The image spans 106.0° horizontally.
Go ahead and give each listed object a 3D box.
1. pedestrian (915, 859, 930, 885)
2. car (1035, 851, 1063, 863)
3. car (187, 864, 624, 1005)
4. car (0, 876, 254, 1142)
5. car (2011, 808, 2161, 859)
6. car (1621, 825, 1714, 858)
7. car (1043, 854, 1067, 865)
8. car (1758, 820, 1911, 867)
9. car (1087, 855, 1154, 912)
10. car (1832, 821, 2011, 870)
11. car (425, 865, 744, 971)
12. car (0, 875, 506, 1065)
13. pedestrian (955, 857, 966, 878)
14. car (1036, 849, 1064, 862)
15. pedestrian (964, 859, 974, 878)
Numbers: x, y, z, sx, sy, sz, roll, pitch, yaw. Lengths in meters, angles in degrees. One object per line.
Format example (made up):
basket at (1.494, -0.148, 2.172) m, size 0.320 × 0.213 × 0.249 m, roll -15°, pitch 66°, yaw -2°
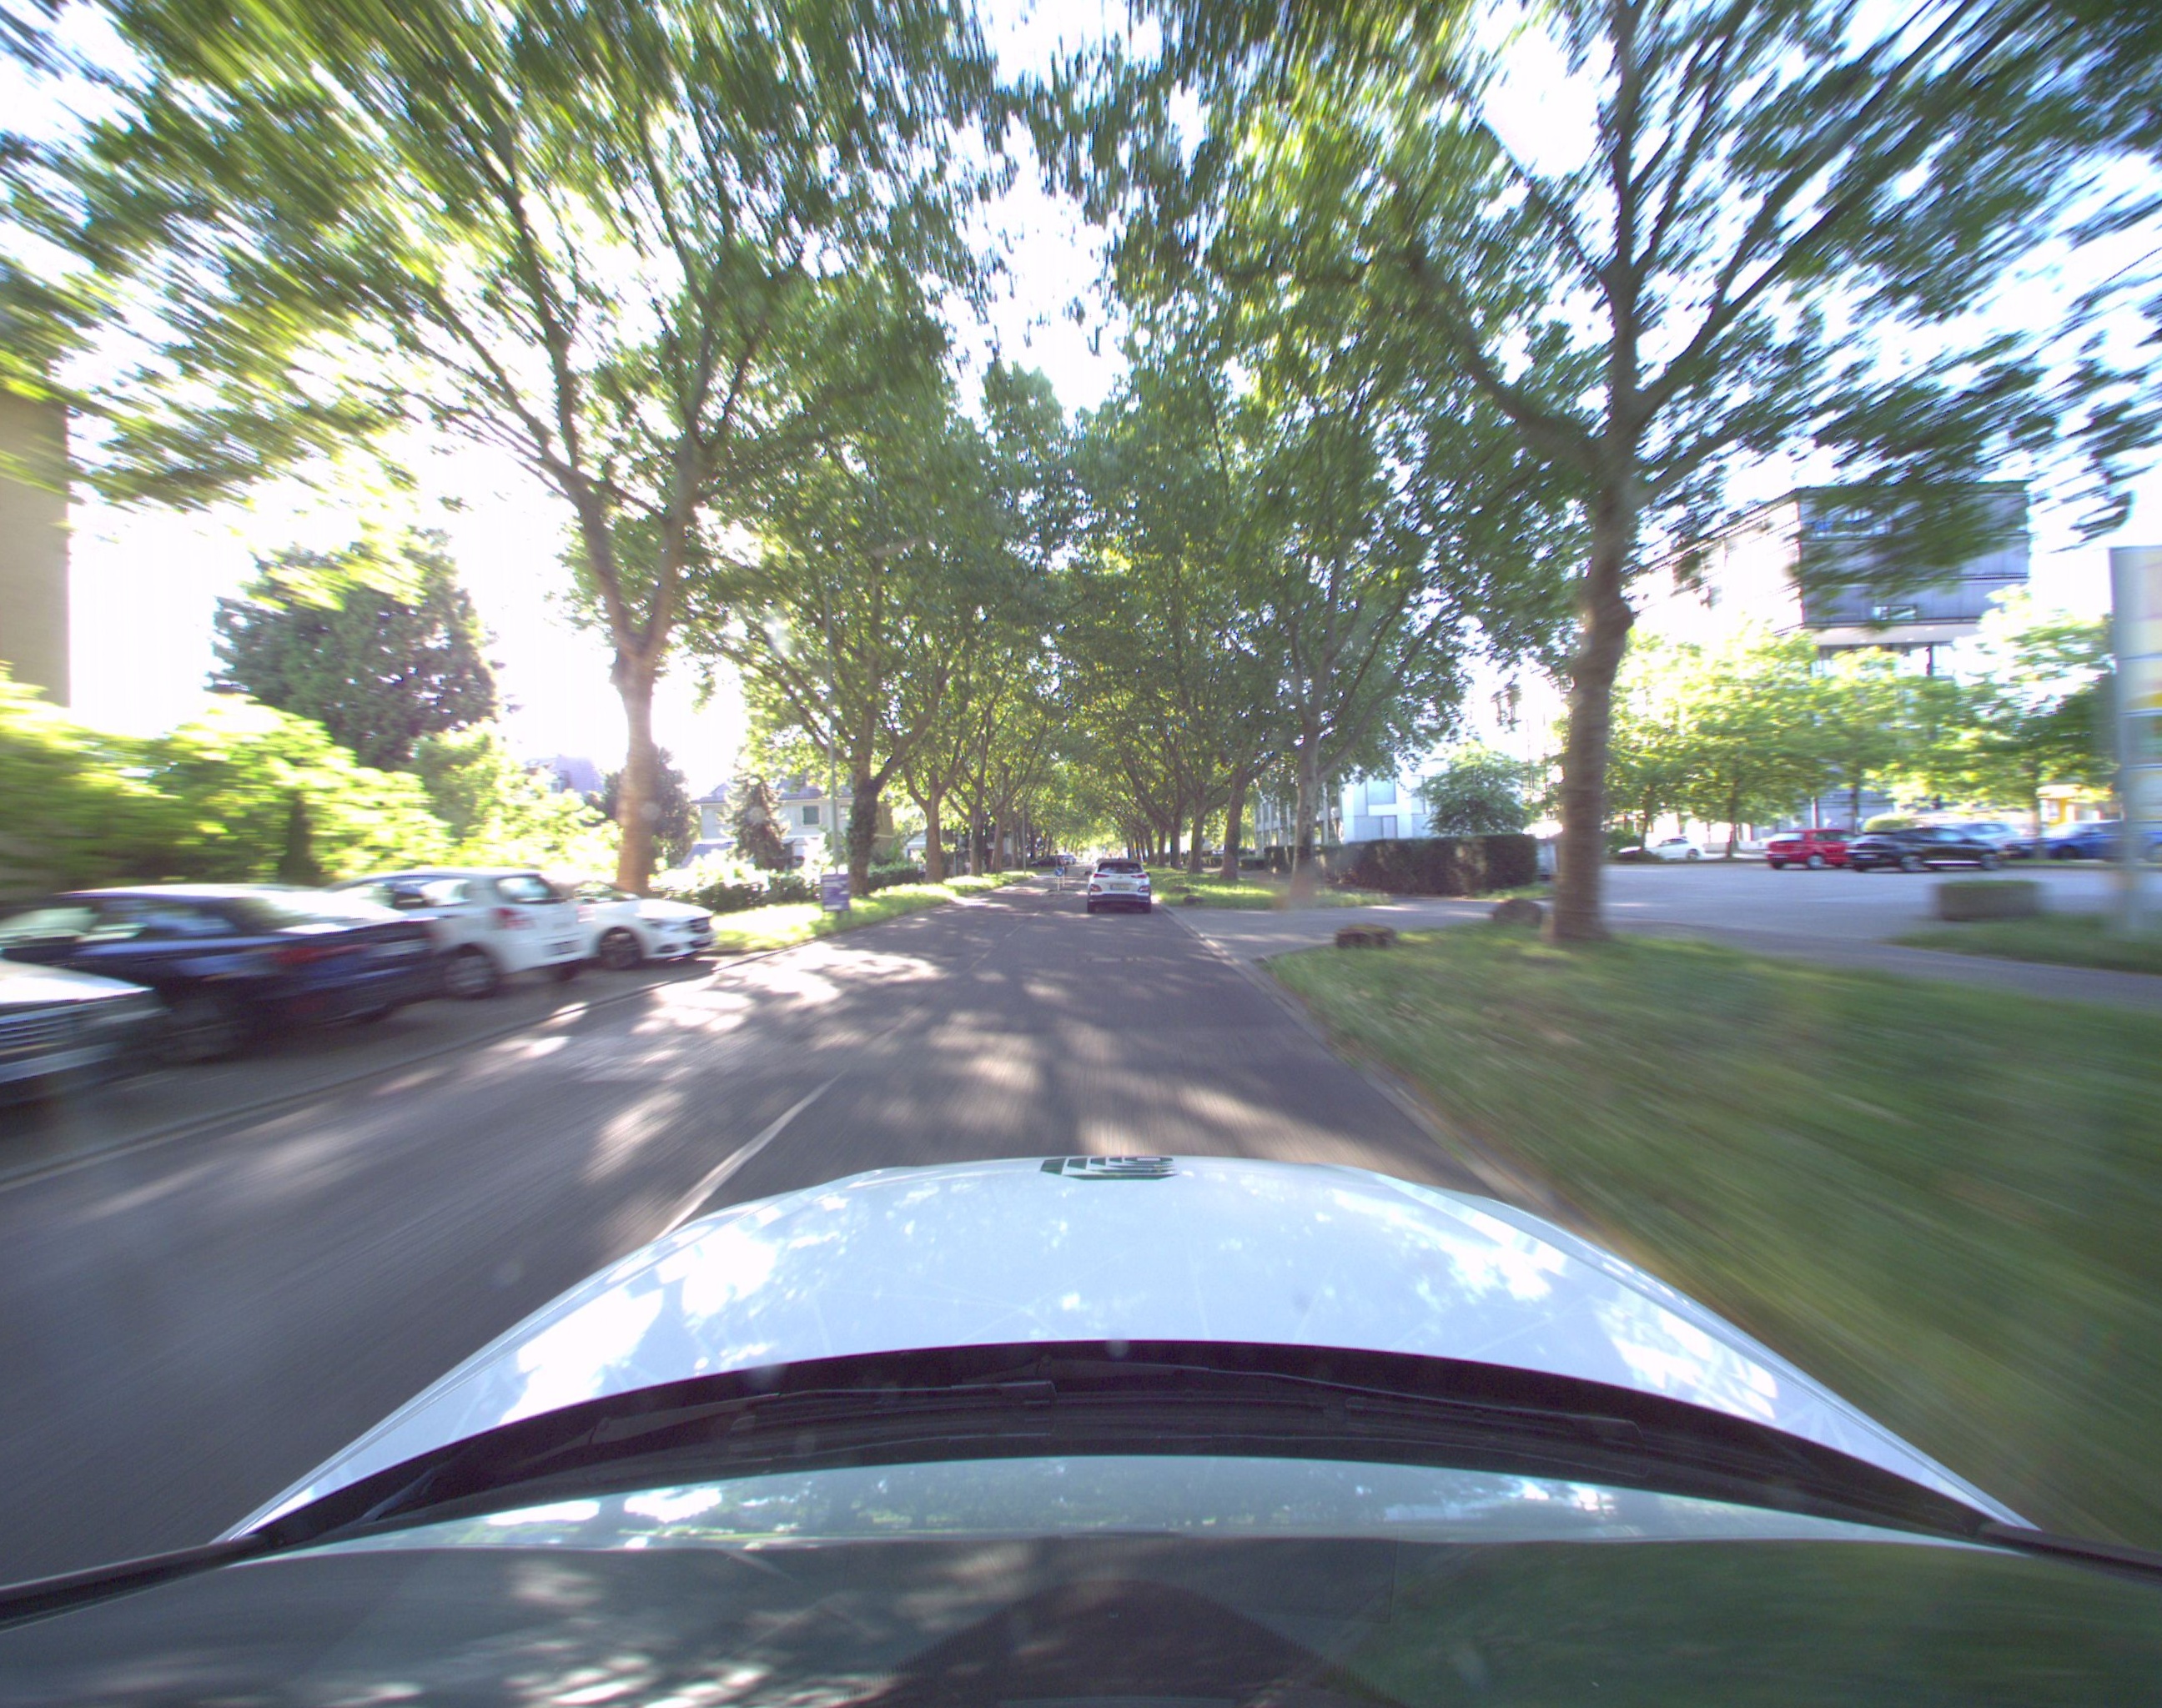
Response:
pedestrian at (-10.492, 1.210, 53.904) m, size 0.746 × 1.707 × 0.793 m, roll -1°, pitch -1°, yaw 1°
car at (-4.681, 0.439, 119.366) m, size 3.978 × 1.772 × 1.997 m, roll -1°, pitch -1°, yaw -4°
car at (-8.312, 0.934, 10.314) m, size 3.974 × 1.520 × 1.809 m, roll -1°, pitch 0°, yaw 0°
car at (-8.109, 0.940, 5.103) m, size 3.974 × 1.470 × 1.780 m, roll -1°, pitch 0°, yaw 0°
car at (34.277, -0.673, 27.208) m, size 3.963 × 1.567 × 1.868 m, roll -1°, pitch 0°, yaw 9°
car at (34.623, -0.716, 48.128) m, size 3.969 × 1.772 × 2.002 m, roll -2°, pitch 0°, yaw 4°
car at (-4.383, 0.922, 138.296) m, size 3.979 × 1.772 × 1.998 m, roll -1°, pitch 0°, yaw -4°
car at (27.505, -0.378, 29.808) m, size 3.978 × 1.567 × 1.861 m, roll -1°, pitch 0°, yaw -4°
car at (1.121, 0.836, 24.302) m, size 1.829 × 1.556 × 4.001 m, roll 0°, pitch -1°, yaw 1°
car at (26.961, -0.283, 26.208) m, size 3.978 × 1.441 × 1.861 m, roll -1°, pitch 0°, yaw -4°
car at (-7.765, 0.966, 13.003) m, size 3.971 × 1.470 × 1.810 m, roll -1°, pitch 0°, yaw 2°
car at (-8.004, 0.978, 7.543) m, size 3.978 × 1.424 × 1.807 m, roll -1°, pitch 0°, yaw -3°
pedestrian at (-11.071, 1.243, 74.798) m, size 0.753 × 1.874 × 0.787 m, roll 0°, pitch -1°, yaw -25°
car at (-4.476, 0.201, 116.254) m, size 3.978 × 1.772 × 1.997 m, roll -1°, pitch -1°, yaw -4°
pedestrian at (-10.350, 1.309, 75.298) m, size 0.752 × 1.707 × 0.787 m, roll 0°, pitch -1°, yaw -23°
